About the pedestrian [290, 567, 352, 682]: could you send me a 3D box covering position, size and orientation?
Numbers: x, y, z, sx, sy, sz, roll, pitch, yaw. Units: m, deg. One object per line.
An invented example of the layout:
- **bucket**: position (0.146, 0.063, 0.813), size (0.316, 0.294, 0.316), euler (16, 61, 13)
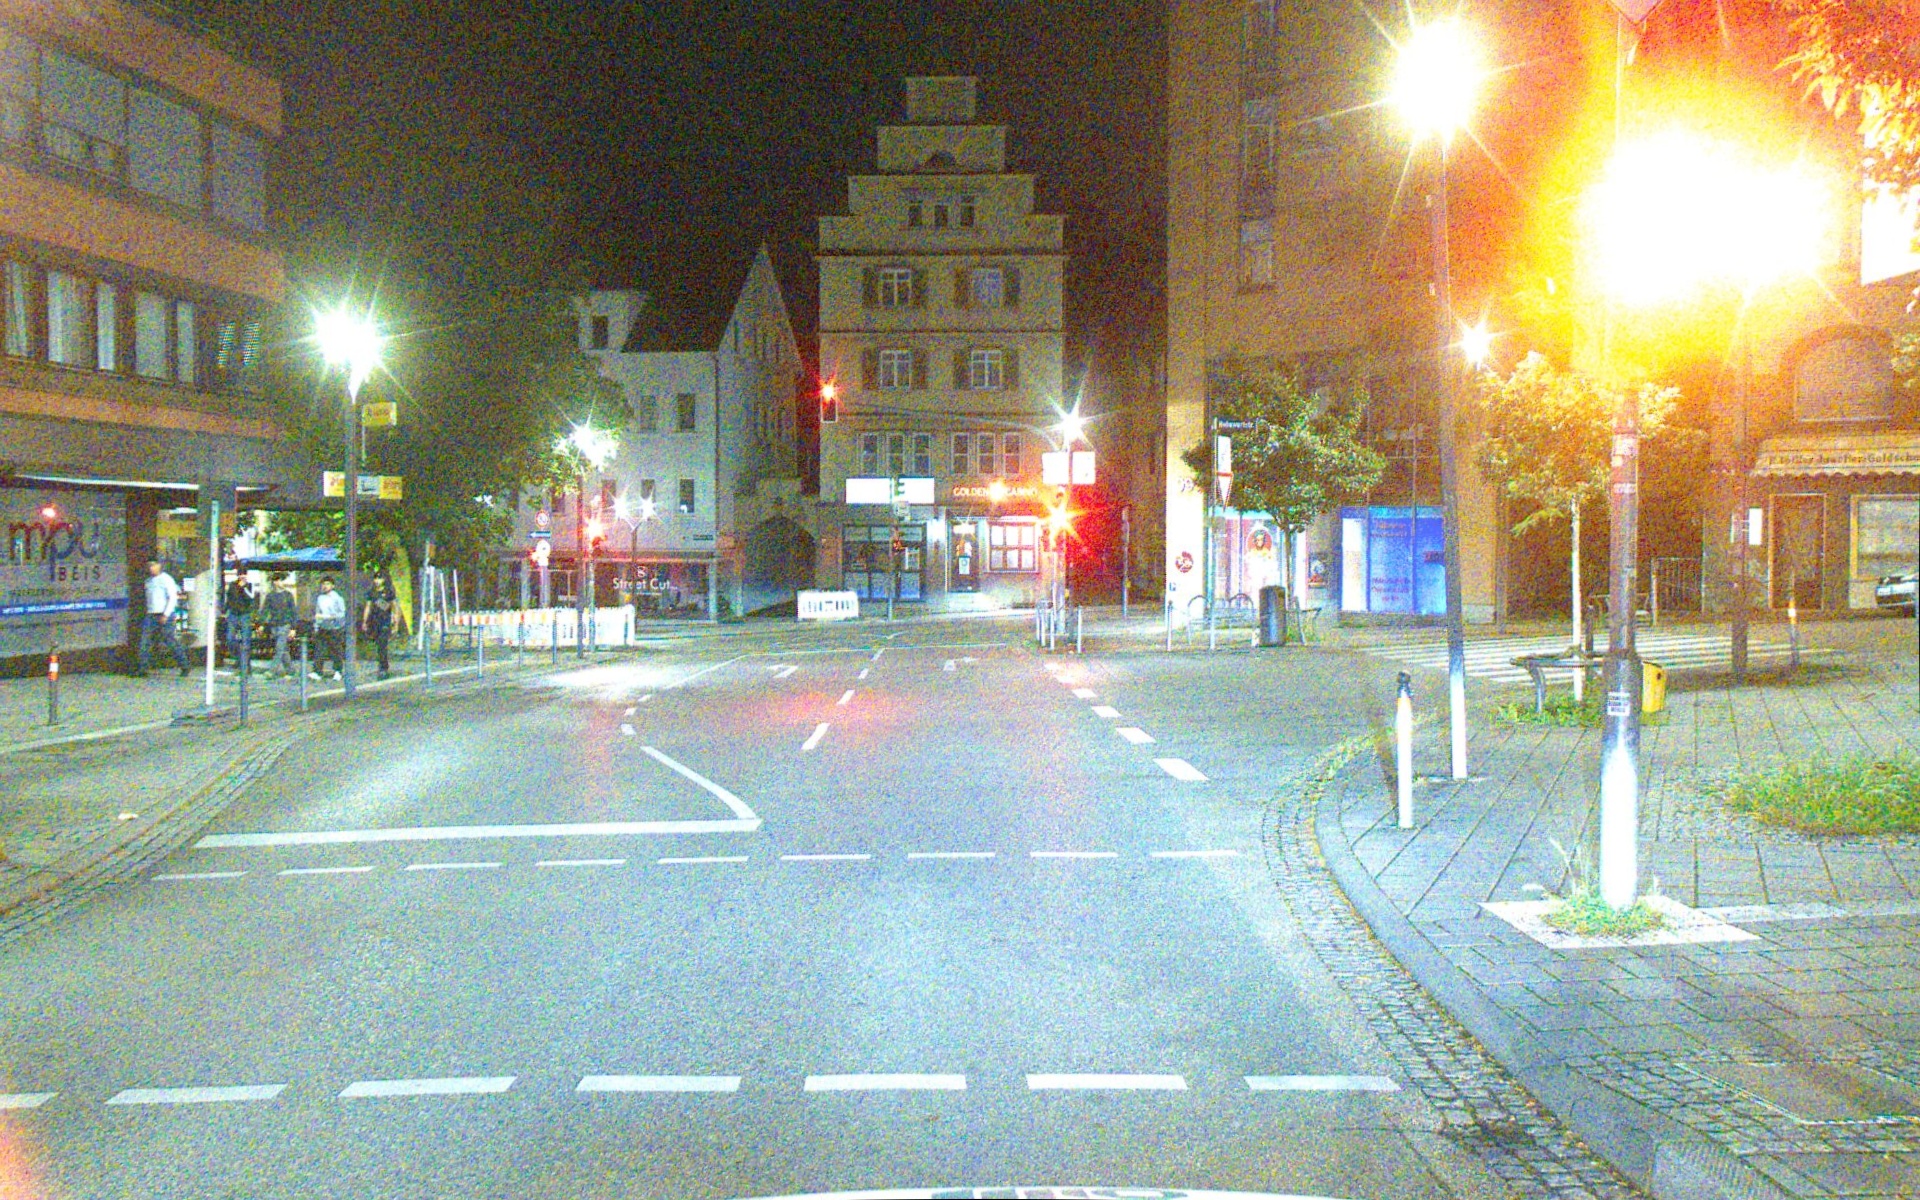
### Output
- **pedestrian**: position (-10.292, 0.400, 26.652), size (0.701, 1.827, 0.570), euler (1, -1, 6)

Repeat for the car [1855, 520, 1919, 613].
- **car**: position (17.176, -0.649, 27.125), size (3.957, 1.478, 1.827), euler (-3, 1, 6)

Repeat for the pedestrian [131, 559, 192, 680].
- **pedestrian**: position (-12.280, 0.301, 25.447), size (0.704, 1.827, 0.567), euler (1, -2, -15)

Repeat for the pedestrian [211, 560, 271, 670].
- **pedestrian**: position (-12.108, 0.260, 27.857), size (0.701, 1.827, 0.570), euler (1, -1, 6)

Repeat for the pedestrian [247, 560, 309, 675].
- **pedestrian**: position (-11.019, 0.286, 26.717), size (0.701, 1.827, 0.570), euler (1, -1, 6)

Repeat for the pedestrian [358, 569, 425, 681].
- **pedestrian**: position (-9.460, 0.419, 27.530), size (0.701, 1.827, 0.737), euler (0, -2, 23)
